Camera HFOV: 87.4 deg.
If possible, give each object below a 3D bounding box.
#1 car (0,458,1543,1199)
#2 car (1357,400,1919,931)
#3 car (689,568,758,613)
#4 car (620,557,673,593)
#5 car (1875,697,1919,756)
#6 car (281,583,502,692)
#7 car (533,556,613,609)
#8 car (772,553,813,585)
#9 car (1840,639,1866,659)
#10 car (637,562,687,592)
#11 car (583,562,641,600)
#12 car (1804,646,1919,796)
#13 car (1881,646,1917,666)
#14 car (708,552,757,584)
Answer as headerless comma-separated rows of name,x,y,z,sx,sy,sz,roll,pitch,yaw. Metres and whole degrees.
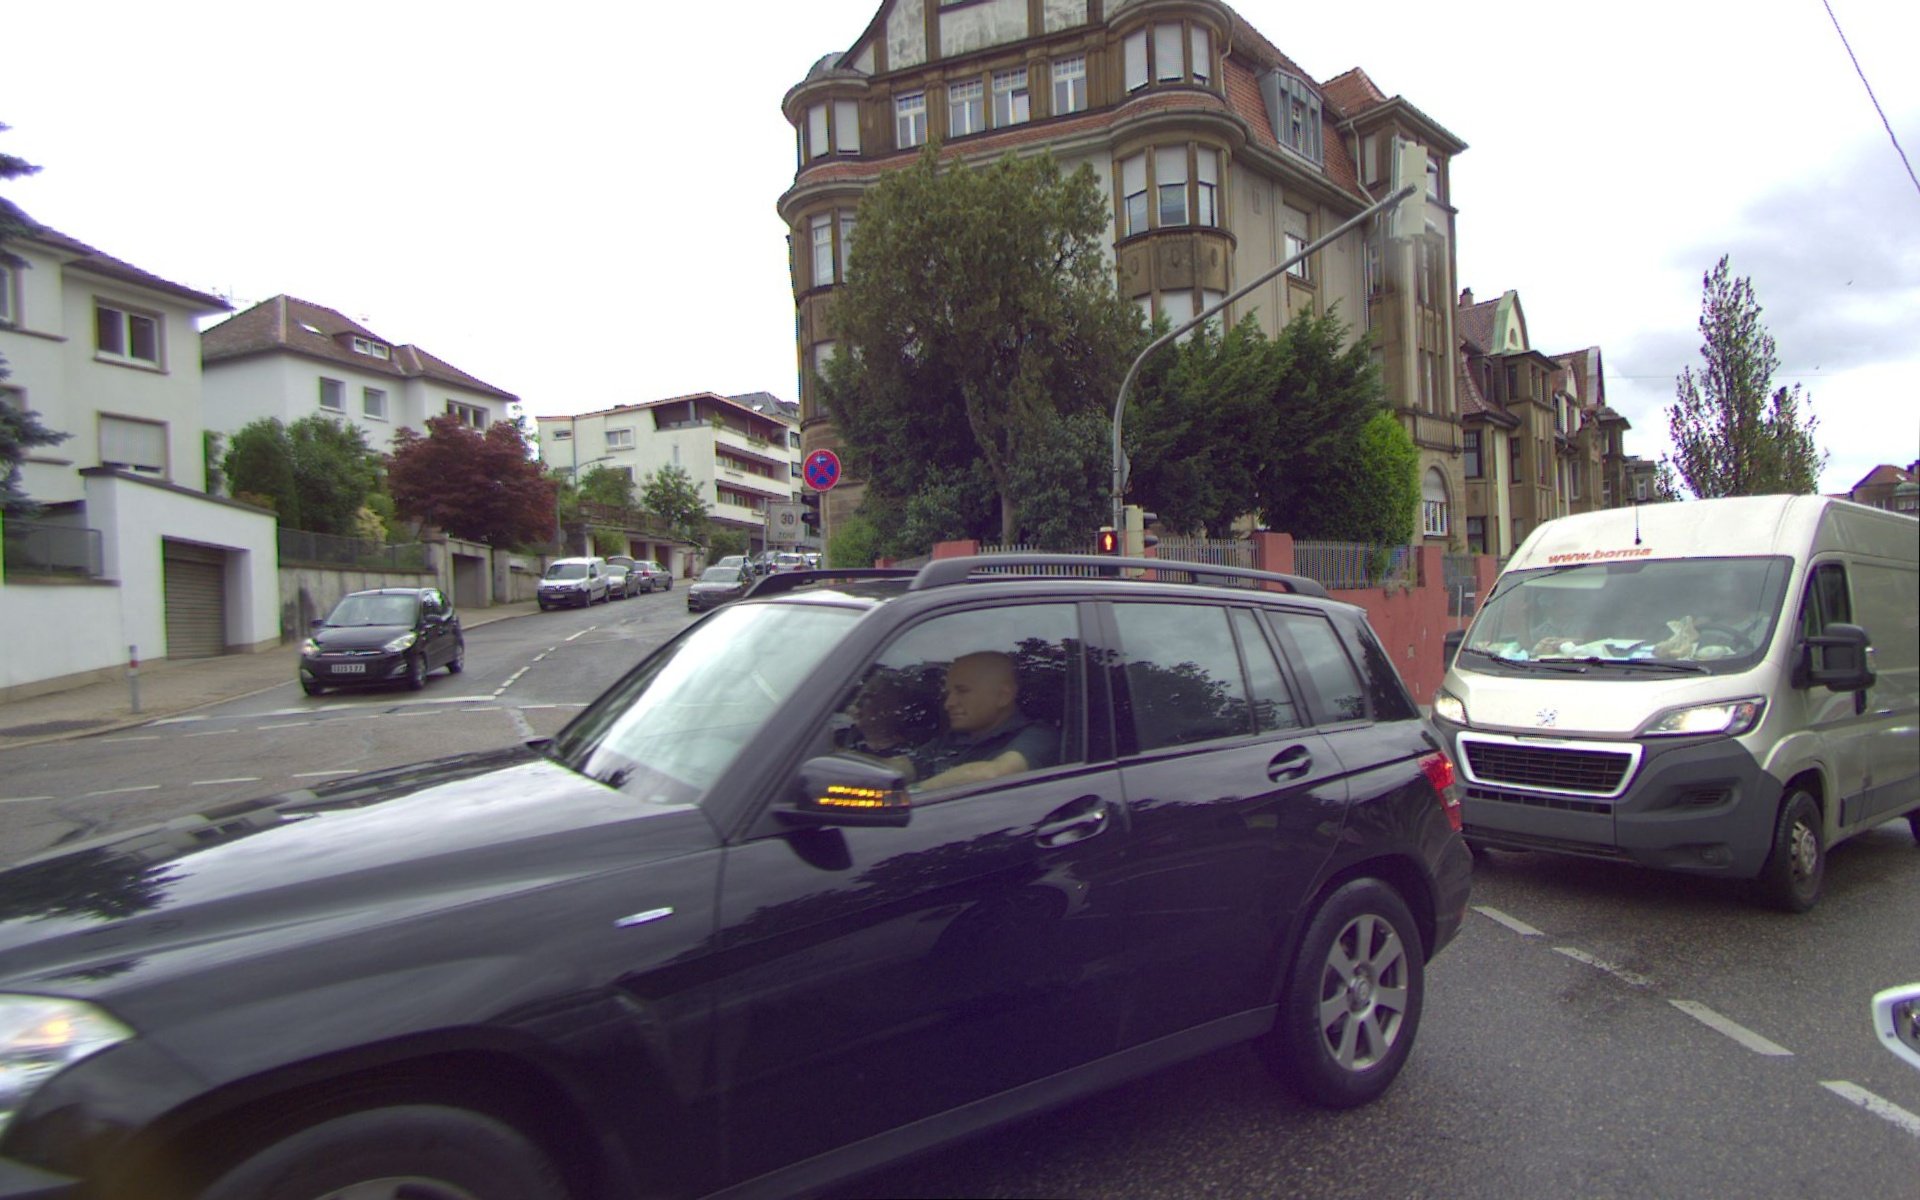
car,-0.149,0.699,3.148,4.302,1.674,1.810,1,-1,-35
car,5.441,0.447,7.354,5.486,2.579,2.103,3,-3,-36
car,-8.142,-0.339,34.880,1.673,1.473,3.517,0,1,-2
car,-14.977,-1.227,48.086,1.478,1.474,3.516,1,5,-1
car,26.756,3.523,28.185,3.433,1.430,1.370,3,-2,-44
car,-9.037,0.511,16.310,1.639,1.458,3.364,-3,2,-1
car,-14.593,-0.732,38.081,1.800,1.856,3.968,-1,3,-6
car,-8.659,-1.629,52.119,1.606,1.474,3.516,1,5,-1
car,89.950,4.925,101.181,1.760,1.879,3.983,-1,-4,39
car,-16.411,-1.301,55.500,1.477,1.473,3.519,1,4,5
car,-14.836,-0.852,42.981,1.479,1.473,3.515,0,3,-5
car,10.801,1.246,10.932,3.968,1.448,1.800,3,-4,-40
car,89.619,5.347,95.927,1.970,1.710,3.985,-8,-8,37
car,-11.860,-1.694,52.531,1.477,1.474,3.518,1,5,5
